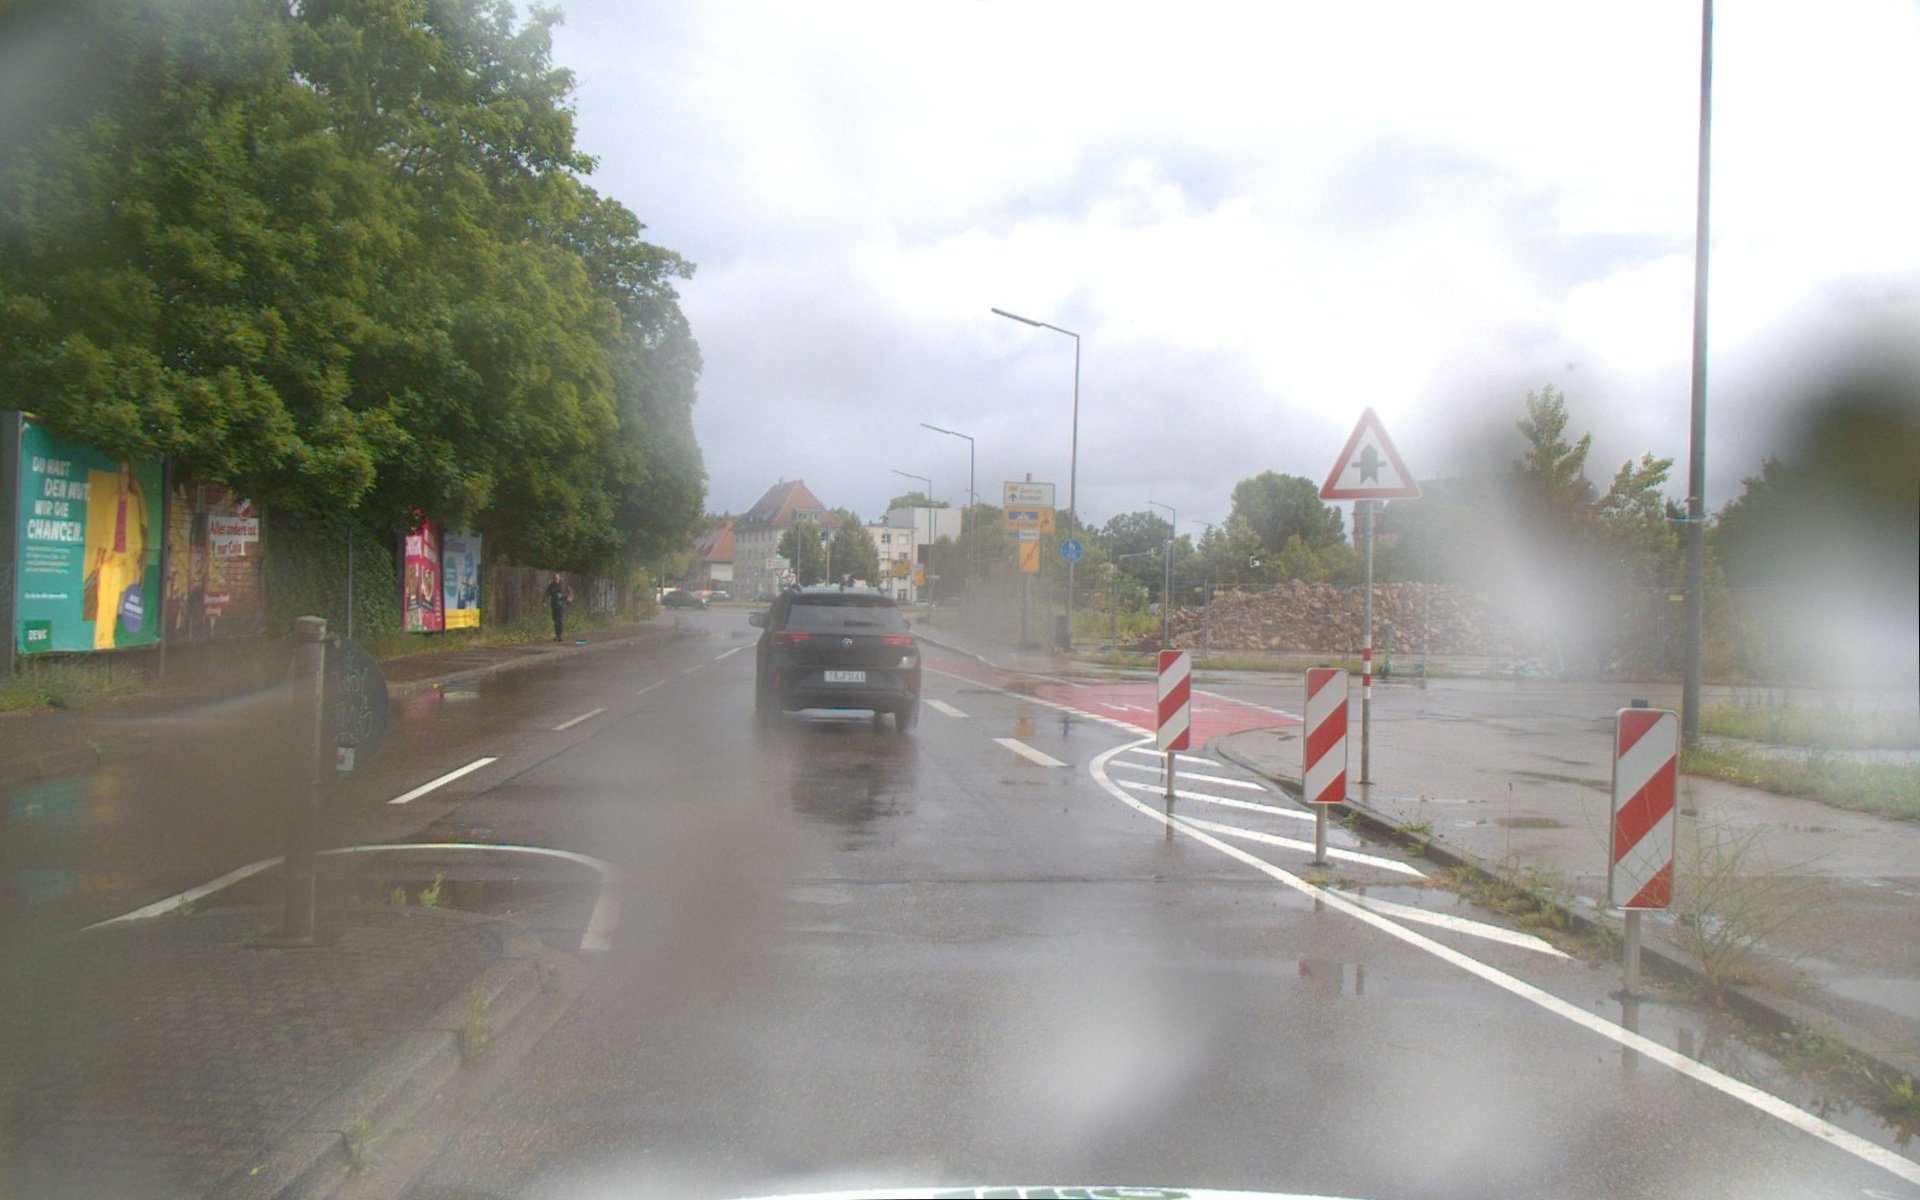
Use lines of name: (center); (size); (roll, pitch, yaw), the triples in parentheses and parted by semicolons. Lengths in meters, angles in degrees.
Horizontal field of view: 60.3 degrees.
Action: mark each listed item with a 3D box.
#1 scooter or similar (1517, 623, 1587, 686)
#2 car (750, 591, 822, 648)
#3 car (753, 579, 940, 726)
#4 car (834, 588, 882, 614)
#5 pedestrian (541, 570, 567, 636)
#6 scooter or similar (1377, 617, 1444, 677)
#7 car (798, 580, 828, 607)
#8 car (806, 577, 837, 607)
scooter or similar: (12.644, 1.154, 35.313); (1.259, 1.207, 0.501); (5, 2, 36)
car: (-4.756, 0.546, 45.650); (1.805, 1.467, 3.996); (-1, -1, -4)
car: (-1.441, 0.559, 19.486); (1.949, 1.547, 3.993); (0, 0, -8)
car: (-8.654, 0.089, 140.017); (3.907, 1.931, 1.825); (3, 2, -2)
pedestrian: (-10.890, 0.081, 44.352); (0.514, 1.731, 0.566); (3, 2, -5)
scooter or similar: (9.887, 1.016, 36.302); (1.259, 1.207, 0.501); (5, 2, 36)
car: (-9.639, -0.419, 108.370); (1.957, 1.732, 4.011); (1, 0, -5)
car: (-8.246, -0.471, 98.208); (1.805, 1.670, 4.011); (1, 0, -5)
